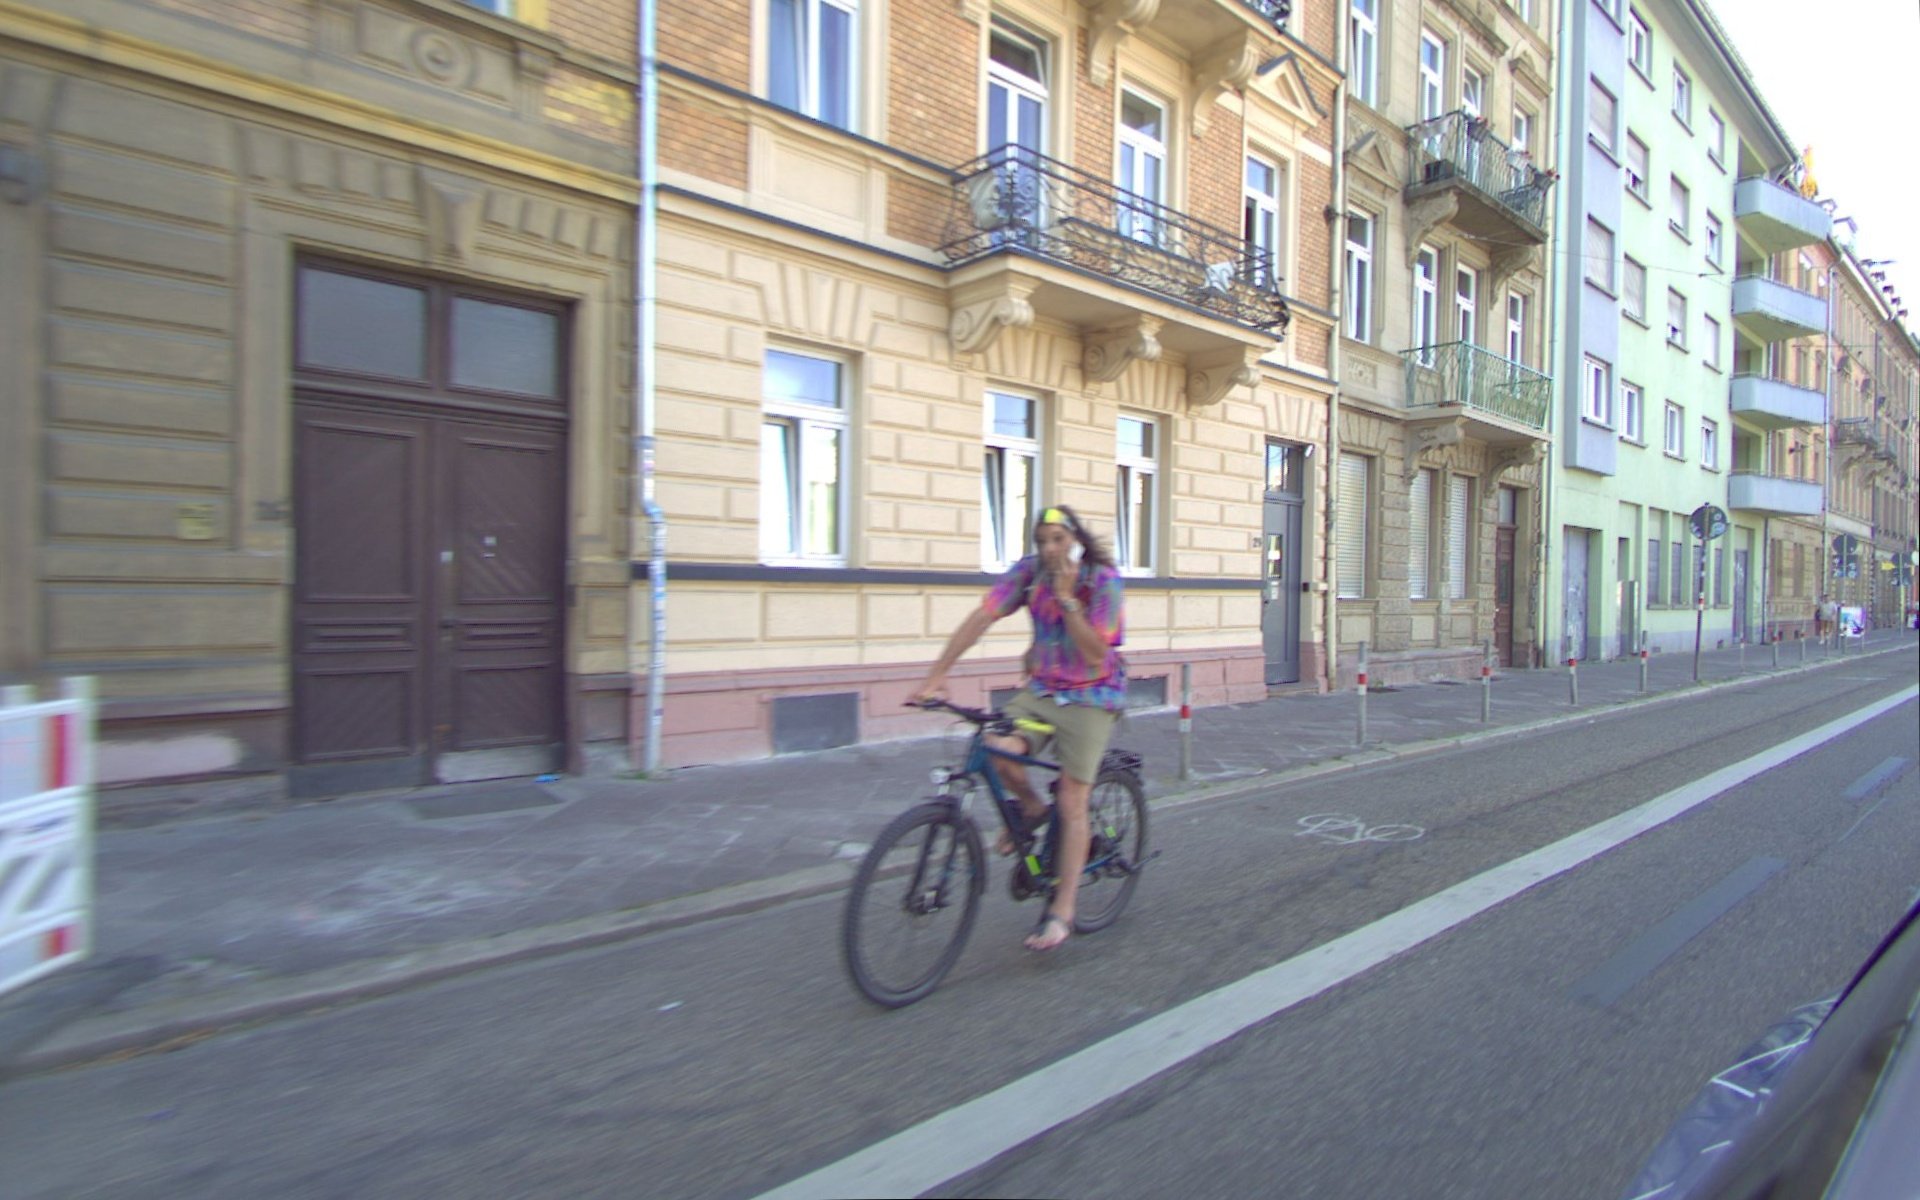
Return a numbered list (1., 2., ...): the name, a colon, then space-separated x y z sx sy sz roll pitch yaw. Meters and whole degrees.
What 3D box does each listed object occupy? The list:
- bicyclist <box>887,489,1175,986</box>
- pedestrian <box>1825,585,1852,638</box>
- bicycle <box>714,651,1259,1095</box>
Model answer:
1. bicyclist: 0.310 0.471 4.109 0.666 1.718 1.027 -1 0 42
2. pedestrian: 29.246 0.372 33.697 0.465 1.721 0.554 0 3 -41
3. bicycle: 0.316 0.840 4.122 0.680 1.128 2.666 -1 0 41
